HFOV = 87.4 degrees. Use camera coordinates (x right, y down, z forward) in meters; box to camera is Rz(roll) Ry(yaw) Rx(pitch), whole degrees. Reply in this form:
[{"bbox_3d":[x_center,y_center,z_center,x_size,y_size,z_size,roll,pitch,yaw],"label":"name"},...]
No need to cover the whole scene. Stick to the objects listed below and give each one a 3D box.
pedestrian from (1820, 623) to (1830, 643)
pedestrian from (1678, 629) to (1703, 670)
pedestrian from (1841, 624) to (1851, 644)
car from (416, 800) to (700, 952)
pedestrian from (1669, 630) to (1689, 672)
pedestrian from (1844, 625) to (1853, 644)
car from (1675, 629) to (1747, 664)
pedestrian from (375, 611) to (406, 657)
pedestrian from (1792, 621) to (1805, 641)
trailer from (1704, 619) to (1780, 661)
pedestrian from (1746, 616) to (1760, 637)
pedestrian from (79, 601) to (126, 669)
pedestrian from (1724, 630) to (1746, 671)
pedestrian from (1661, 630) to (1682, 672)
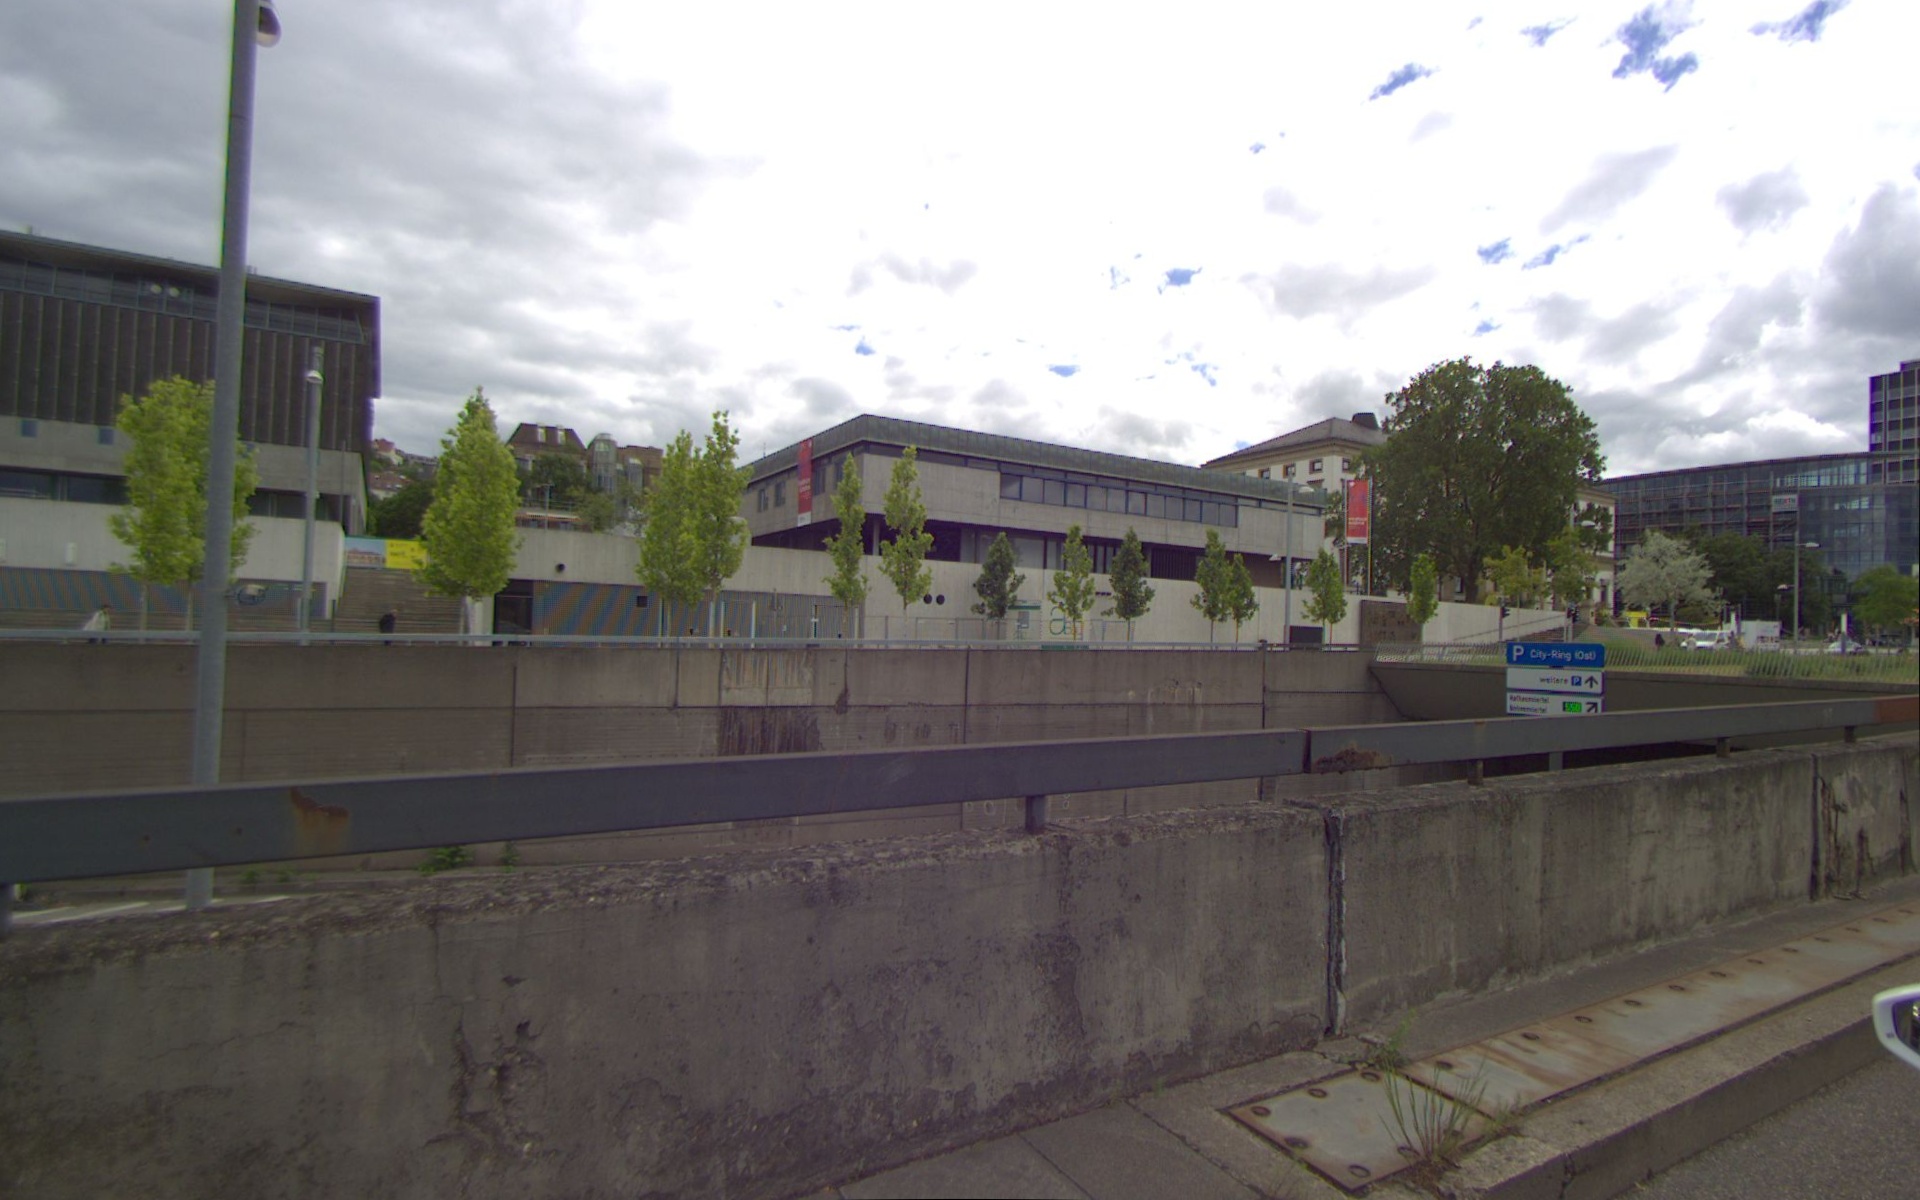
[{"bbox_3d":[86.852,3.301,100.806,0.730,2.040,0.916,-1,-1,41],"label":"pedestrian"},{"bbox_3d":[36.683,2.490,50.434,0.623,2.040,0.854,0,-1,-35],"label":"pedestrian"},{"bbox_3d":[89.084,3.424,100.983,0.730,2.040,0.916,-1,-1,41],"label":"pedestrian"},{"bbox_3d":[-6.355,4.251,15.951,3.953,1.568,1.867,2,-2,-30],"label":"car"},{"bbox_3d":[35.527,2.520,49.638,0.779,2.040,0.834,-1,-1,33],"label":"pedestrian"},{"bbox_3d":[95.300,3.682,107.760,0.730,2.040,0.789,-1,-1,40],"label":"pedestrian"},{"bbox_3d":[47.452,2.881,63.439,4.635,2.040,1.985,0,0,-30],"label":"car"},{"bbox_3d":[-20.839,1.227,36.786,0.779,1.664,0.739,0,-1,-11],"label":"pedestrian"},{"bbox_3d":[85.734,3.183,102.726,0.783,2.040,0.735,0,-1,-29],"label":"pedestrian"},{"bbox_3d":[51.328,2.584,65.911,5.443,2.640,2.027,1,1,-30],"label":"trailer"},{"bbox_3d":[74.410,2.482,94.279,1.103,2.040,0.734,0,-1,-35],"label":"pedestrian"},{"bbox_3d":[-25.880,1.053,30.312,0.777,2.040,0.741,0,-1,2],"label":"pedestrian"},{"bbox_3d":[39.836,2.592,51.611,0.623,2.041,0.724,-4,2,-37],"label":"pedestrian"},{"bbox_3d":[34.925,2.486,49.325,0.779,2.040,0.834,-1,-1,33],"label":"pedestrian"}]
